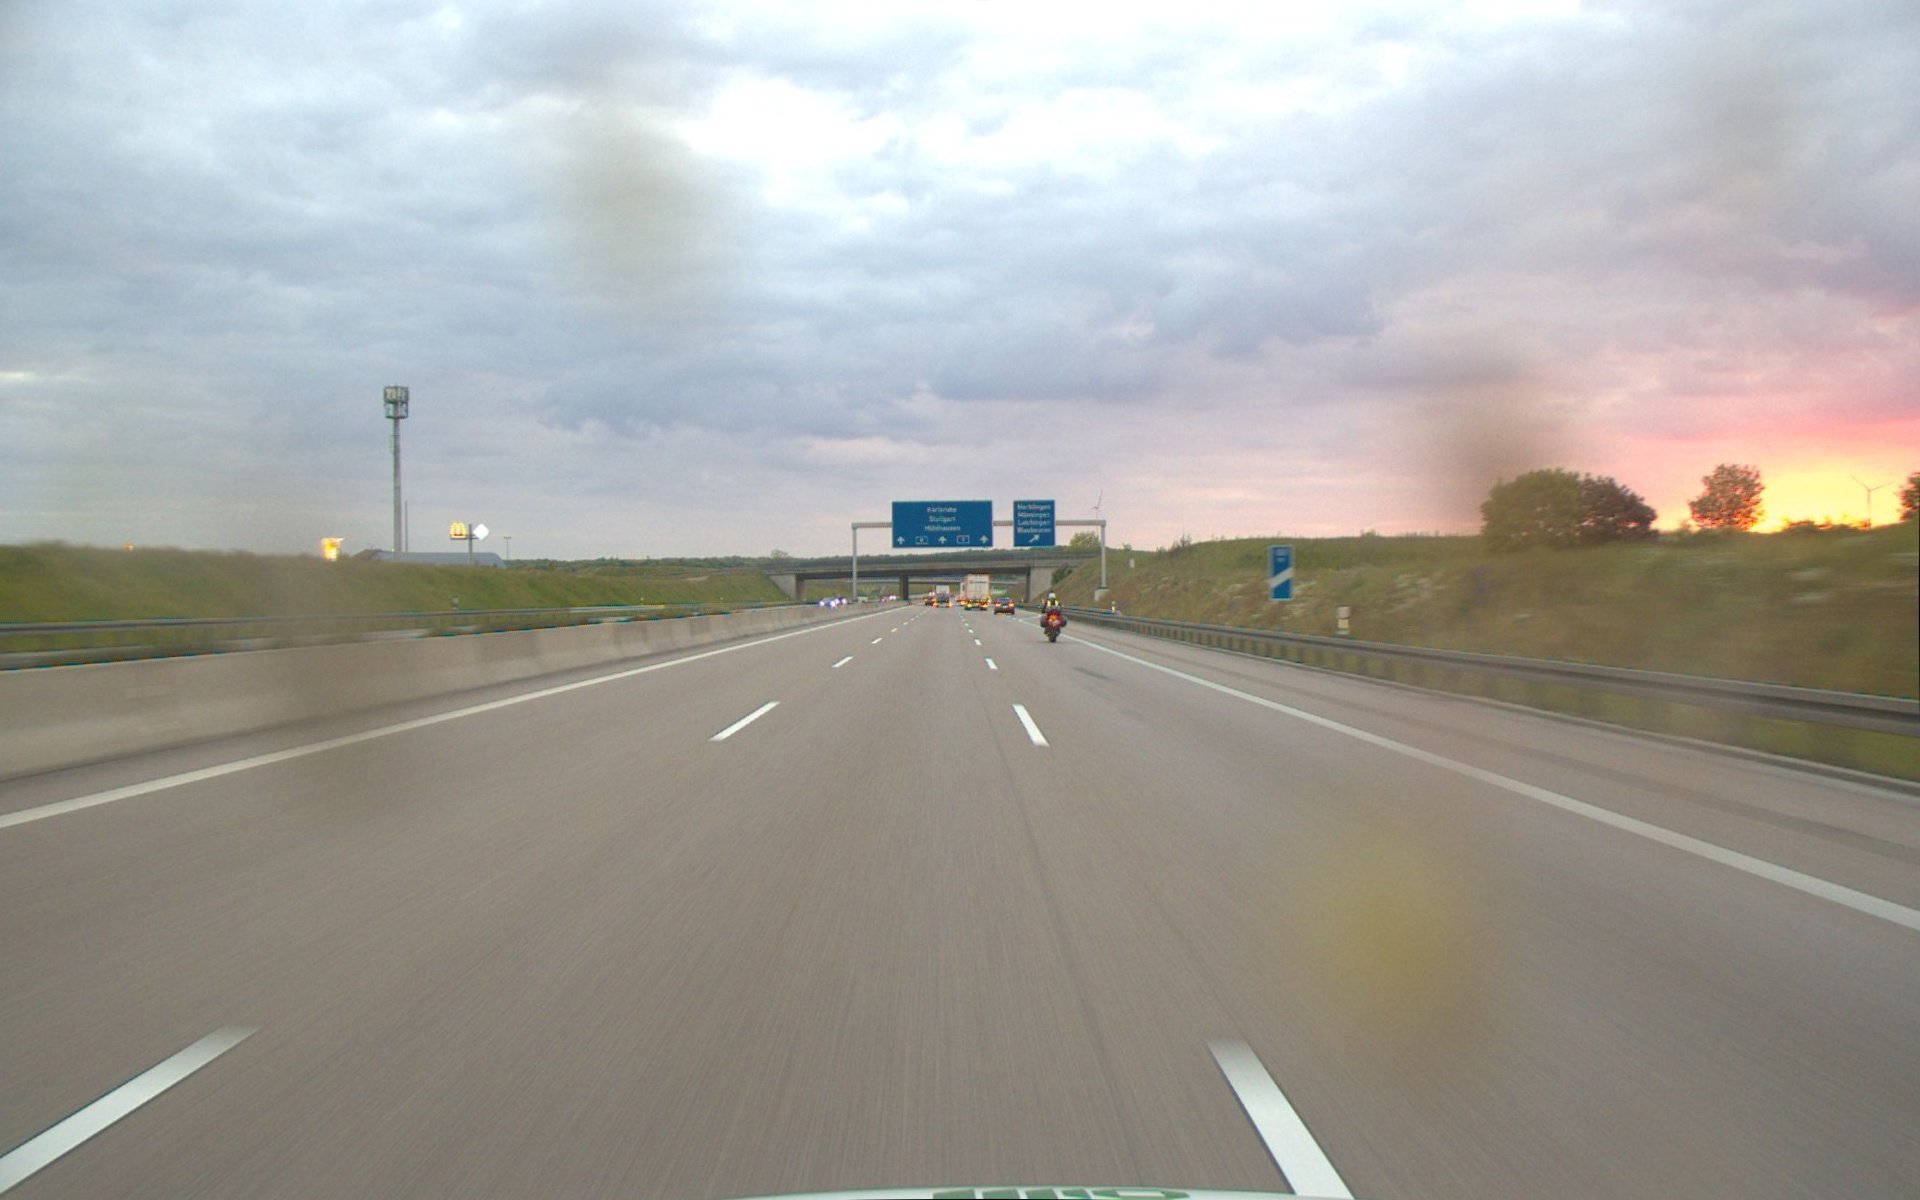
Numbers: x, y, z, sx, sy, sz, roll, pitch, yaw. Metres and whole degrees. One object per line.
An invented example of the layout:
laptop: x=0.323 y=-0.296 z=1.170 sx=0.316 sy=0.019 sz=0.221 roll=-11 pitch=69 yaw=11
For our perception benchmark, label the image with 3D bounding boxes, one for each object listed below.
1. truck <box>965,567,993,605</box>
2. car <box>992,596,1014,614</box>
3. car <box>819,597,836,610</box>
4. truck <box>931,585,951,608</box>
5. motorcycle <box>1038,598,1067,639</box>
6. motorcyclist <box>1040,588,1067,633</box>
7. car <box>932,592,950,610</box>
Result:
truck: x=2.170 y=-1.664 z=193.047 sx=3.167 sy=4.301 sz=9.598 roll=1 pitch=1 yaw=0
car: x=3.932 y=0.471 z=151.505 sx=1.879 sy=1.607 sz=3.999 roll=0 pitch=0 yaw=-1
car: x=-17.153 y=0.460 z=214.327 sx=1.962 sy=1.615 sz=4.571 roll=0 pitch=0 yaw=-2
truck: x=-2.958 y=-0.567 z=253.025 sx=2.892 sy=3.273 sz=8.404 roll=1 pitch=1 yaw=-1
motorcycle: x=3.242 y=0.629 z=57.856 sx=0.883 sy=1.370 sz=2.349 roll=0 pitch=1 yaw=0
motorcyclist: x=3.246 y=0.366 z=57.692 sx=0.848 sy=1.513 sz=1.168 roll=1 pitch=0 yaw=0
car: x=-2.692 y=0.127 z=236.905 sx=2.465 sy=2.433 sz=6.494 roll=0 pitch=0 yaw=-1
